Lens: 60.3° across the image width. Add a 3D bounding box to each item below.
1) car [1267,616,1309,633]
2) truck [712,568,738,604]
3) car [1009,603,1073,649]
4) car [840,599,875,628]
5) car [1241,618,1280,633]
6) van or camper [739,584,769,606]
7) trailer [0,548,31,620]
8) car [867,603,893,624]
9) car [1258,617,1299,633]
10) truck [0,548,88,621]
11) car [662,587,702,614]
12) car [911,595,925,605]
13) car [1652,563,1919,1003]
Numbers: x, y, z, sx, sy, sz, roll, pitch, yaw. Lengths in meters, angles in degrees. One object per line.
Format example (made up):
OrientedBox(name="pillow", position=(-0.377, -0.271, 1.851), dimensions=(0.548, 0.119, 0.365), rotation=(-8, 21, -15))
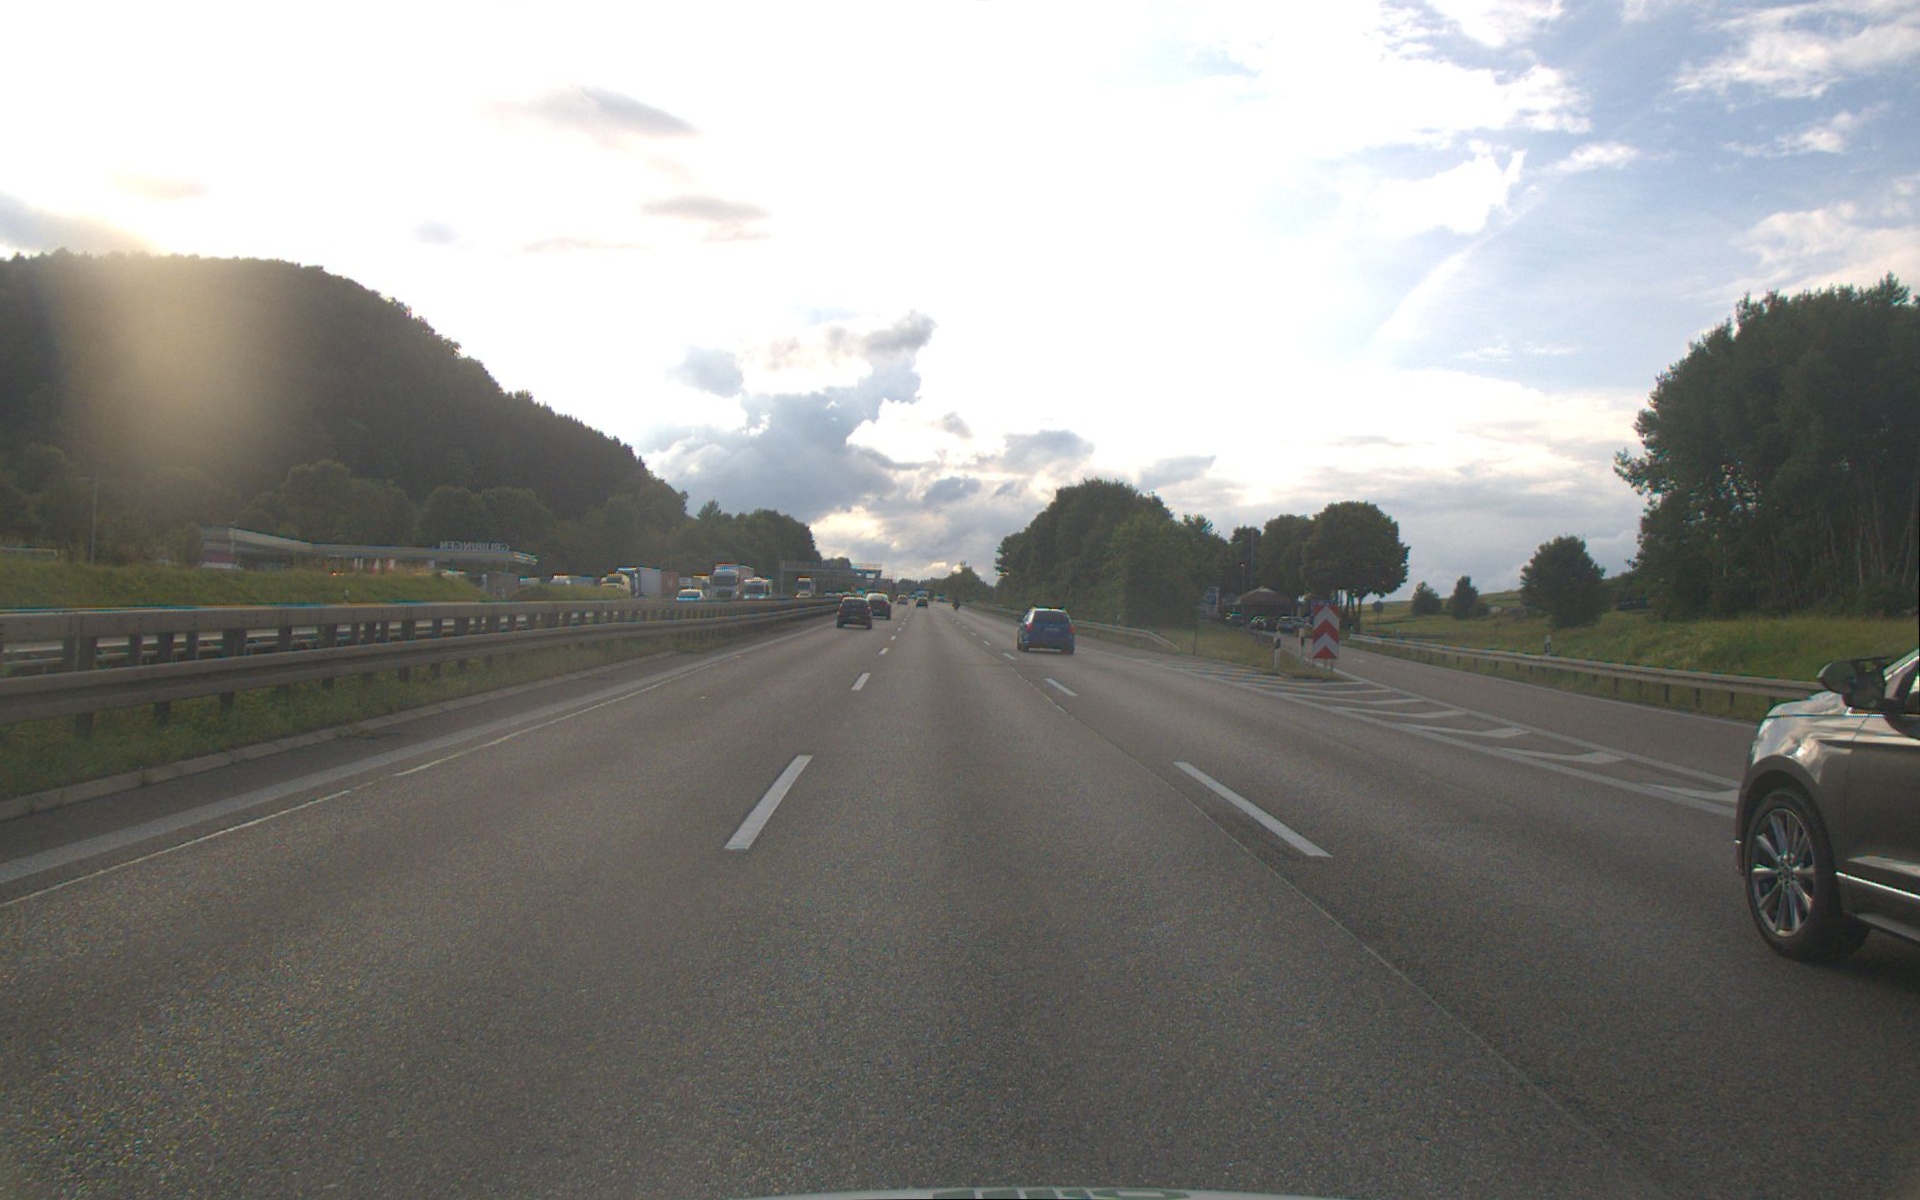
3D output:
OrientedBox(name="car", position=(32.322, 2.445, 163.096), dimensions=(4.272, 1.583, 1.959), rotation=(2, -2, -42))
OrientedBox(name="truck", position=(-23.850, -1.414, 168.312), dimensions=(1.954, 3.473, 6.735), rotation=(1, -1, -3))
OrientedBox(name="car", position=(2.655, 0.839, 55.003), dimensions=(1.731, 1.458, 3.998), rotation=(-1, 0, -3))
OrientedBox(name="car", position=(-4.937, 0.633, 80.046), dimensions=(1.506, 1.371, 3.676), rotation=(-1, 0, 0))
OrientedBox(name="car", position=(32.202, 2.753, 177.121), dimensions=(4.272, 1.583, 1.959), rotation=(2, -2, -42))
OrientedBox(name="van or camper", position=(-19.204, -0.470, 154.330), dimensions=(2.035, 1.964, 4.345), rotation=(-1, 0, 2))
OrientedBox(name="trailer", position=(-40.576, -0.765, 64.216), dimensions=(2.526, 2.903, 11.378), rotation=(1, -1, 0))
OrientedBox(name="car", position=(-5.581, 0.928, 115.322), dimensions=(1.533, 1.404, 4.001), rotation=(-1, 0, 1))
OrientedBox(name="car", position=(32.461, 2.567, 168.600), dimensions=(4.272, 1.583, 1.959), rotation=(2, -2, -42))
OrientedBox(name="truck", position=(-40.558, -0.623, 70.683), dimensions=(2.526, 2.903, 7.532), rotation=(1, -1, 0))
OrientedBox(name="car", position=(-17.913, 0.070, 106.828), dimensions=(1.953, 1.652, 3.998), rotation=(1, -1, -1))
OrientedBox(name="car", position=(-6.012, -0.023, 237.592), dimensions=(1.717, 1.243, 3.995), rotation=(-3, 0, -6))
OrientedBox(name="car", position=(4.550, 0.708, 6.437), dimensions=(1.750, 1.681, 4.480), rotation=(1, 0, -1))
